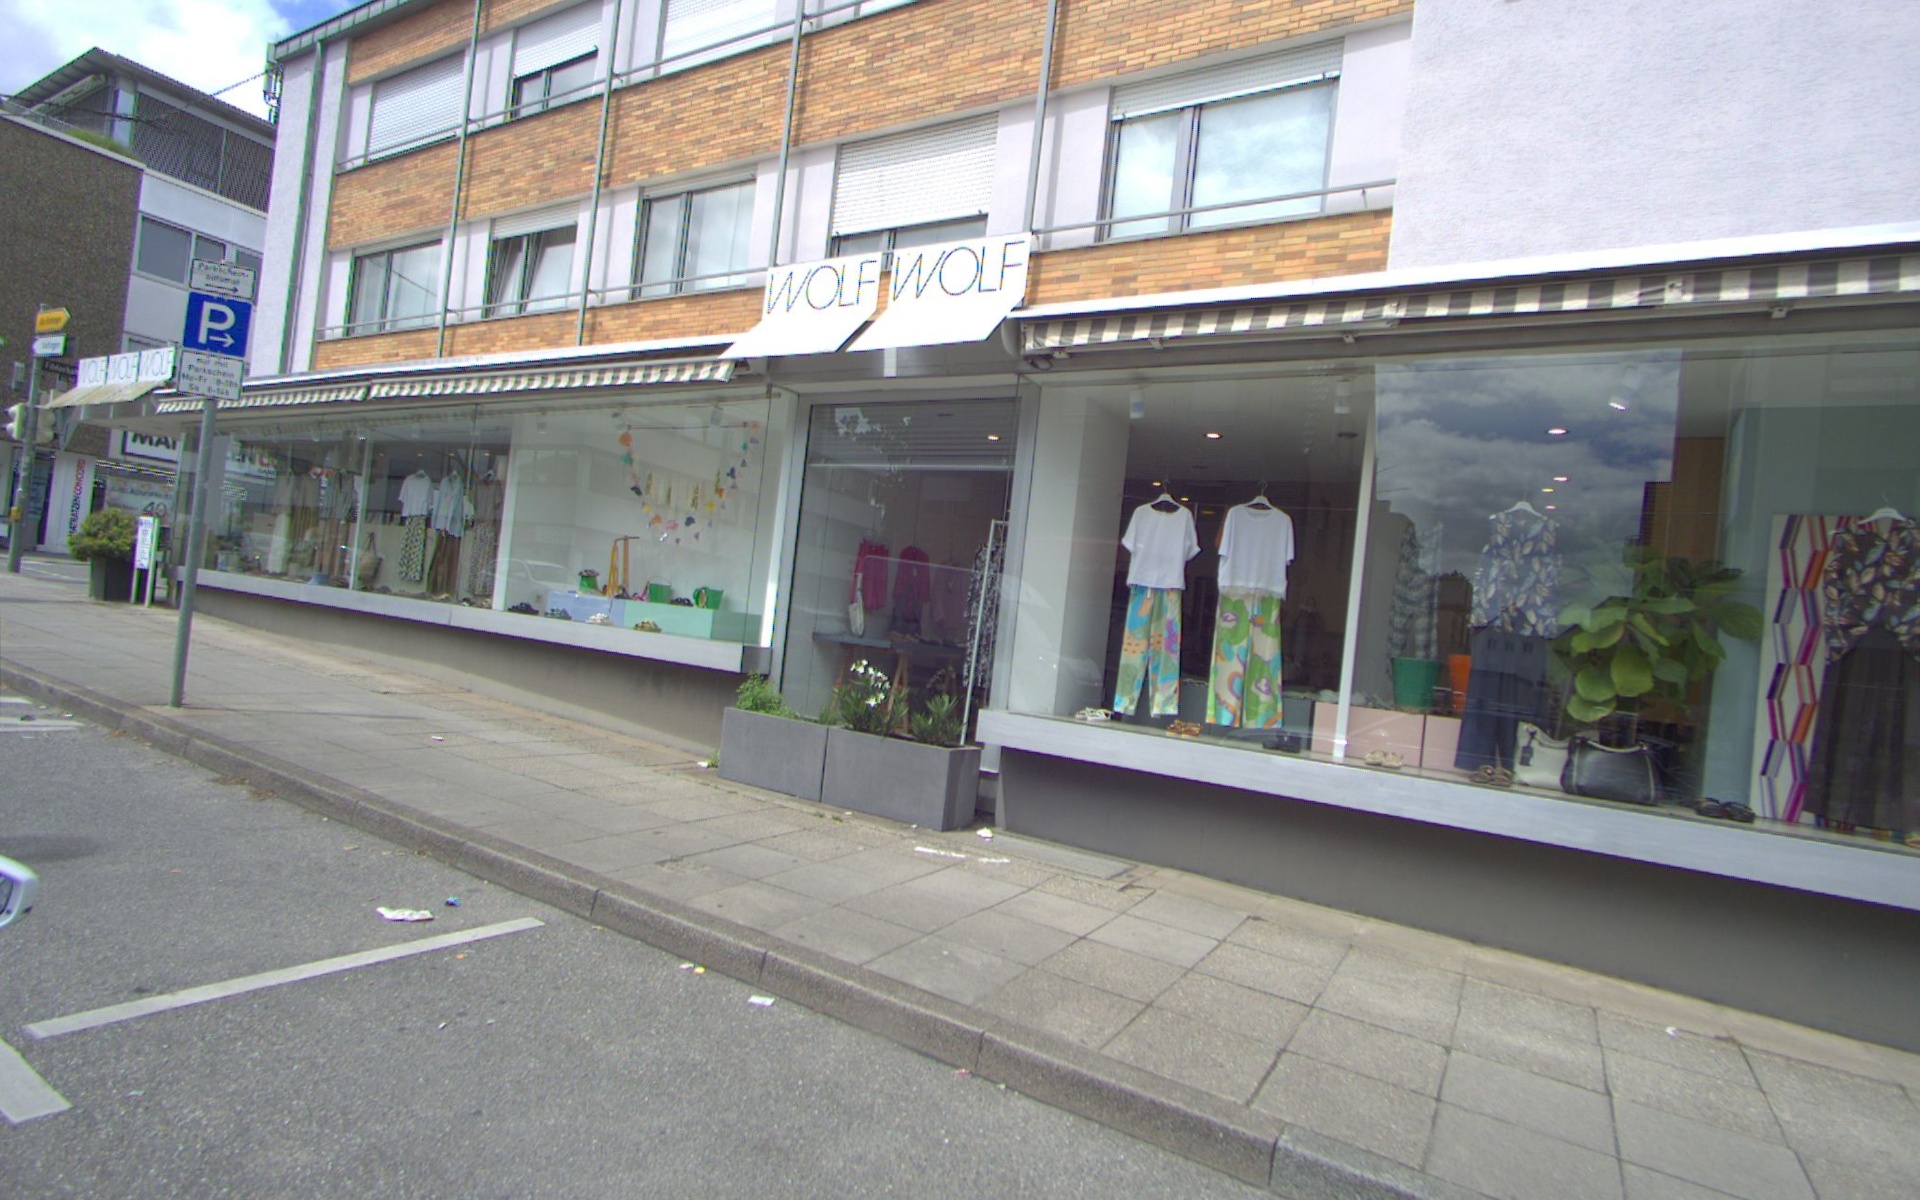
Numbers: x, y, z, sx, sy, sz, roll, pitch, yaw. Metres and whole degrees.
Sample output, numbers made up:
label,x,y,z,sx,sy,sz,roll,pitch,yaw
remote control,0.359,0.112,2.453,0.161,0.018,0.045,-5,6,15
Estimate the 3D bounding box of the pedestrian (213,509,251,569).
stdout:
label,x,y,z,sx,sy,sz,roll,pitch,yaw
pedestrian,-21.943,-1.816,30.320,0.608,1.728,0.580,5,2,0
